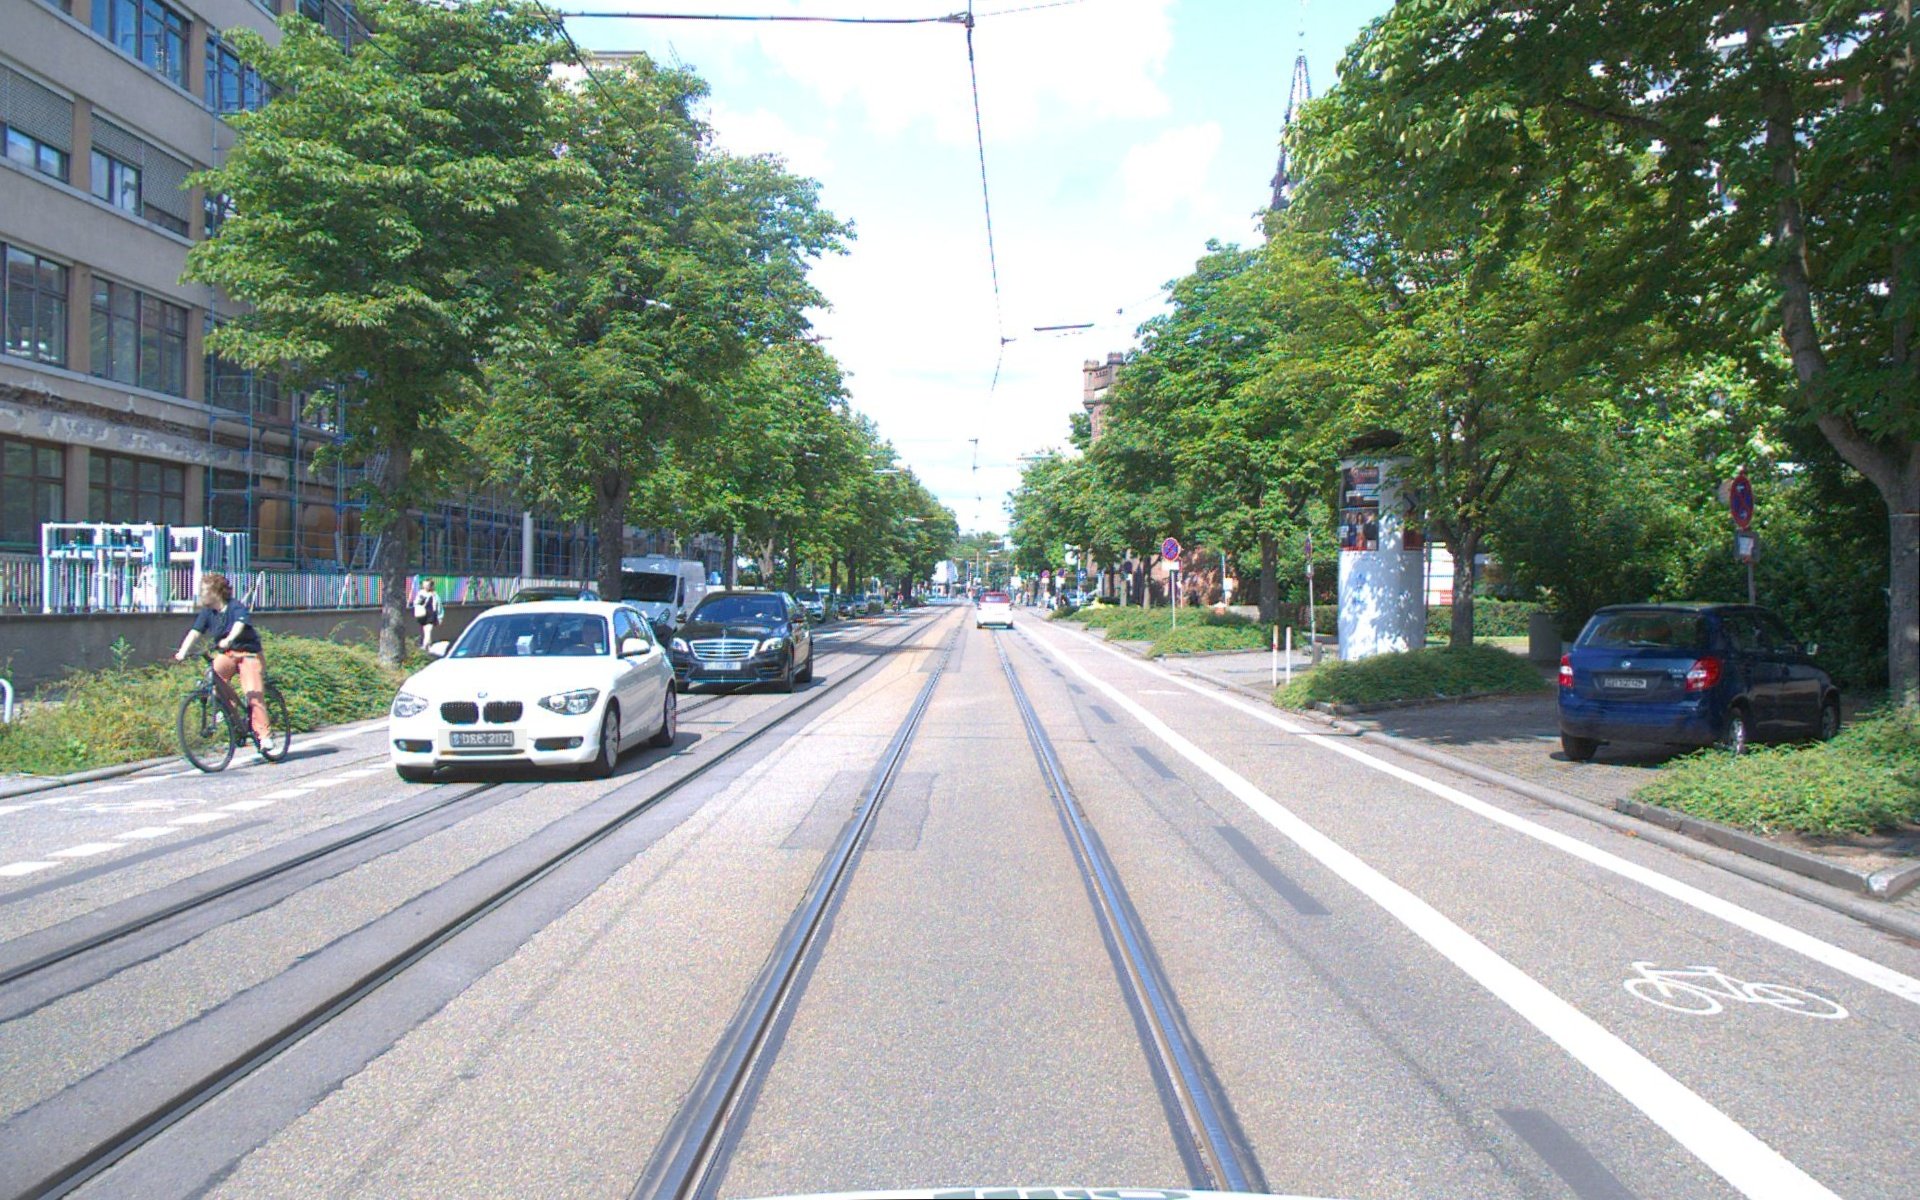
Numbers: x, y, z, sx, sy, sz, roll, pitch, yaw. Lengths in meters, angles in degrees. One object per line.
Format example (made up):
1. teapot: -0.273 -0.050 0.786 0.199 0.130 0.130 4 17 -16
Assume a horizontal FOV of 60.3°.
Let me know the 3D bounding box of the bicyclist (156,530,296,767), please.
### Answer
1. bicyclist: -6.573 0.427 14.850 0.859 2.049 0.833 -1 -1 -1

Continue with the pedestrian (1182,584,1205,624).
1. pedestrian: 12.333 0.215 87.361 0.957 2.049 1.093 2 0 -1

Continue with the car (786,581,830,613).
1. car: -7.666 -0.144 83.753 1.767 1.543 4.103 1 0 0

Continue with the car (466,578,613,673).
1. car: -8.236 0.471 32.731 1.767 1.691 4.103 2 0 0

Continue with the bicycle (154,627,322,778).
1. bicycle: -6.450 0.882 14.885 0.630 1.186 1.944 -2 1 -1

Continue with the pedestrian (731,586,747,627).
1. pedestrian: -11.115 0.334 83.272 0.788 2.049 0.484 1 0 -9

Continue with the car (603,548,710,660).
1. car: -7.873 0.095 43.404 1.733 2.685 5.322 2 0 0

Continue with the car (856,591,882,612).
1. car: -7.162 0.097 130.165 1.767 1.543 4.103 1 0 0

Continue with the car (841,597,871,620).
1. car: -7.455 0.579 118.672 1.767 1.543 4.103 2 0 0

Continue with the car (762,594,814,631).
1. car: -7.609 0.549 73.500 1.767 1.543 4.103 2 0 0

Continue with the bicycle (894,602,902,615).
1. bicycle: -5.198 0.703 138.283 0.605 0.990 1.717 1 0 0

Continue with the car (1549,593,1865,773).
1. car: 7.427 0.713 16.259 1.589 1.512 3.972 0 0 44

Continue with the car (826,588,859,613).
1. car: -7.503 0.031 106.090 1.767 1.543 4.103 1 0 0

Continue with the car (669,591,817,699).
1. car: -3.343 0.659 26.287 1.763 1.534 4.535 1 0 0

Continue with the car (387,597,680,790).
1. car: -3.613 0.718 14.740 1.653 1.430 4.224 -1 0 -3

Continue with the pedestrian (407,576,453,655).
1. pedestrian: -11.419 0.329 35.645 0.749 1.648 0.594 2 0 0

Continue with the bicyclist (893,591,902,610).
1. bicyclist: -5.233 0.051 138.345 0.645 1.607 0.946 2 0 -1

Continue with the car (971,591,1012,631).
1. car: 1.347 0.462 71.838 1.632 1.653 3.619 0 1 -2
